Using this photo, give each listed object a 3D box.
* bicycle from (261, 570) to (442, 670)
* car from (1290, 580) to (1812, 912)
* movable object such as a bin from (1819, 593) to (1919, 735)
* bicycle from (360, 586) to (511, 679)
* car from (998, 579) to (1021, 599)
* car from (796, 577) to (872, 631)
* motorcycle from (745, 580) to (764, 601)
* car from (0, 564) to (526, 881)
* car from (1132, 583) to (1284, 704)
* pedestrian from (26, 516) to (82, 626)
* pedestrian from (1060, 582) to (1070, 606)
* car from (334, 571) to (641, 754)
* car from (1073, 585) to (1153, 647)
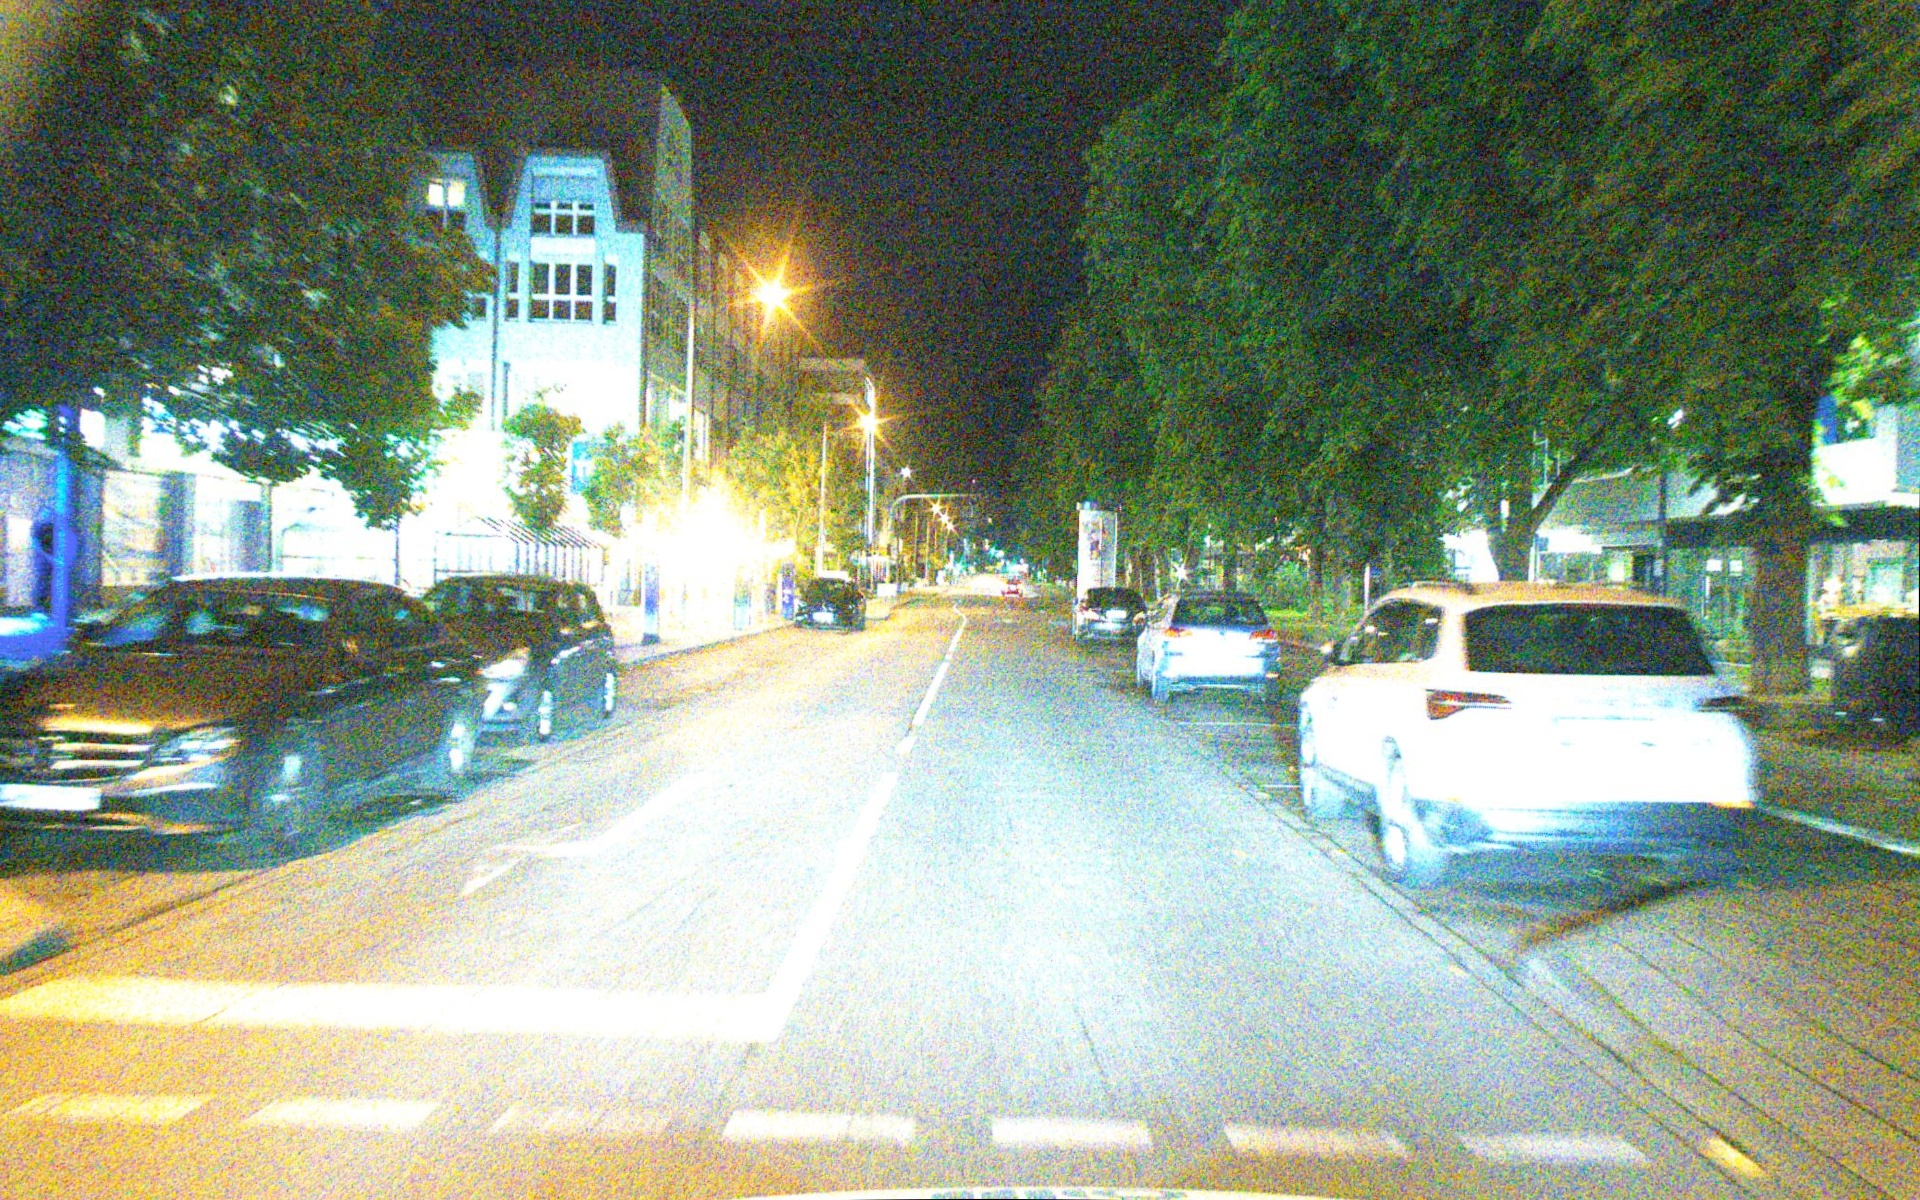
[{"bbox_3d":[-6.912,0.225,18.819,1.813,1.017,0.533,3,0,0],"label":"bicycle"},{"bbox_3d":[3.225,0.672,9.963,1.733,1.563,4.217,-1,1,1],"label":"car"},{"bbox_3d":[9.668,0.648,16.978,1.137,1.395,0.993,2,0,-1],"label":"movable object such as a bin"},{"bbox_3d":[-6.952,0.427,21.975,1.812,1.186,0.533,1,0,0],"label":"bicycle"},{"bbox_3d":[4.310,-0.984,145.399,1.952,1.672,4.001,0,1,1],"label":"car"},{"bbox_3d":[-3.630,0.073,48.385,1.705,1.438,4.497,2,1,2],"label":"car"},{"bbox_3d":[-10.540,-0.501,84.826,0.468,1.038,1.677,2,1,11],"label":"motorcycle"},{"bbox_3d":[-4.376,0.562,10.507,1.769,1.449,4.922,3,1,1],"label":"car"},{"bbox_3d":[3.453,0.546,23.625,1.654,1.563,4.016,-1,1,1],"label":"car"},{"bbox_3d":[-13.909,-0.448,25.409,0.468,1.665,0.632,1,0,2],"label":"pedestrian"},{"bbox_3d":[8.206,-0.442,129.420,0.688,1.850,1.082,1,0,1],"label":"pedestrian"},{"bbox_3d":[-4.389,0.506,16.006,1.687,1.453,3.977,3,1,1],"label":"car"},{"bbox_3d":[3.861,0.368,42.304,1.727,1.439,4.809,1,1,2],"label":"car"}]
